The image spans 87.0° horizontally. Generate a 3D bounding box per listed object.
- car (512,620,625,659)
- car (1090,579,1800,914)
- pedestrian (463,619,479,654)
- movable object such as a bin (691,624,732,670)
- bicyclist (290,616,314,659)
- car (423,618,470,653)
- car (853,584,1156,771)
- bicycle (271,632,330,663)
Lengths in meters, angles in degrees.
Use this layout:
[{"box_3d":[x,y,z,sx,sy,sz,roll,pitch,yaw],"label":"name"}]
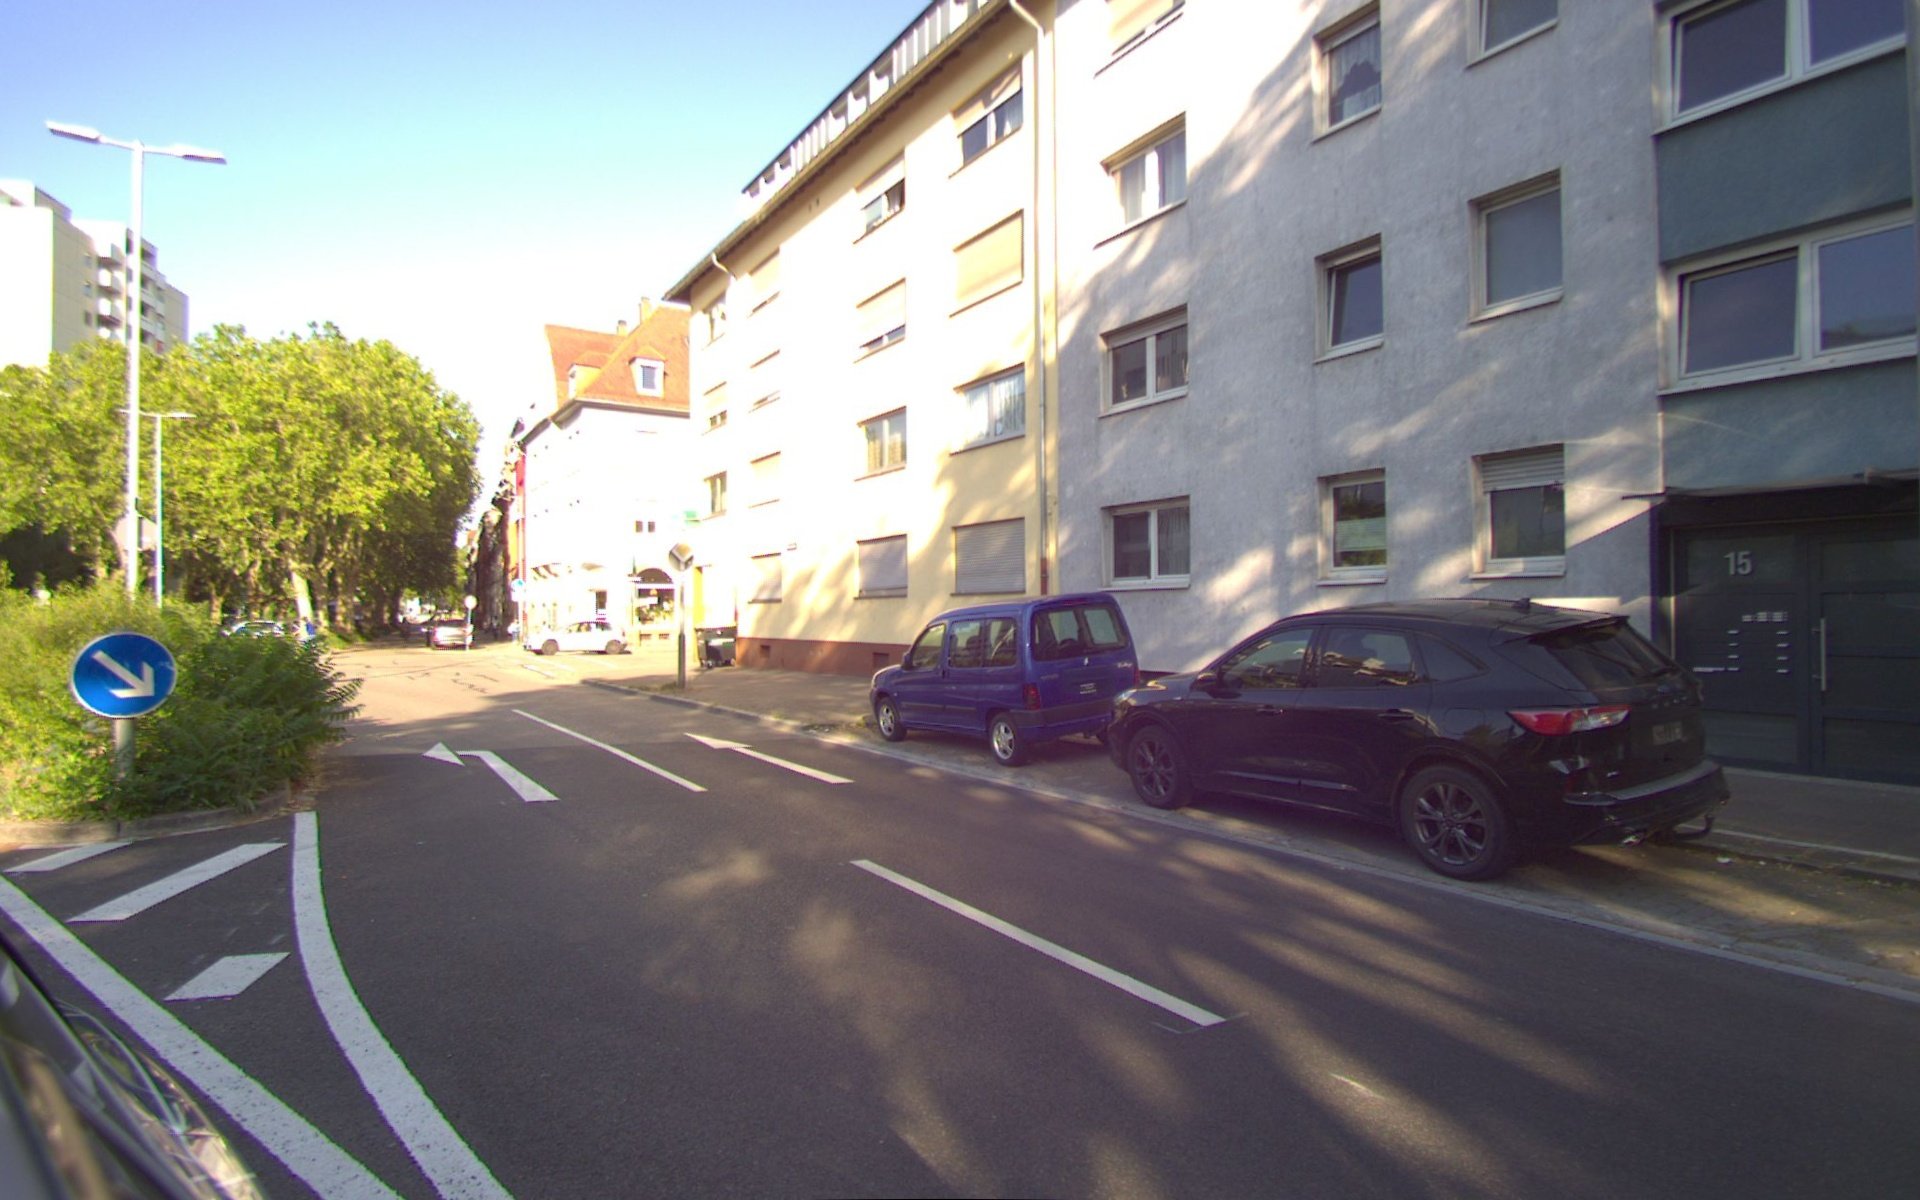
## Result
[{"box_3d":[-16.290,1.620,42.141,4.134,1.523,1.806,0,-1,-31],"label":"car"},{"box_3d":[3.135,0.785,7.628,1.880,1.685,4.506,-2,0,-30],"label":"car"},{"box_3d":[-23.959,1.787,49.605,0.662,1.725,0.715,0,-1,-24],"label":"pedestrian"},{"box_3d":[-7.331,1.370,29.869,1.017,1.296,1.065,0,-1,-22],"label":"movable object such as a bin"},{"box_3d":[-24.576,1.391,37.795,0.739,1.565,0.632,0,-1,-34],"label":"bicyclist"},{"box_3d":[-27.358,1.862,53.887,1.867,1.806,4.011,1,-2,-32],"label":"car"},{"box_3d":[0.349,0.808,12.265,1.642,1.832,4.016,-2,0,-32],"label":"car"},{"box_3d":[-24.605,1.761,37.777,1.839,1.098,0.629,0,-1,-35],"label":"bicycle"}]
